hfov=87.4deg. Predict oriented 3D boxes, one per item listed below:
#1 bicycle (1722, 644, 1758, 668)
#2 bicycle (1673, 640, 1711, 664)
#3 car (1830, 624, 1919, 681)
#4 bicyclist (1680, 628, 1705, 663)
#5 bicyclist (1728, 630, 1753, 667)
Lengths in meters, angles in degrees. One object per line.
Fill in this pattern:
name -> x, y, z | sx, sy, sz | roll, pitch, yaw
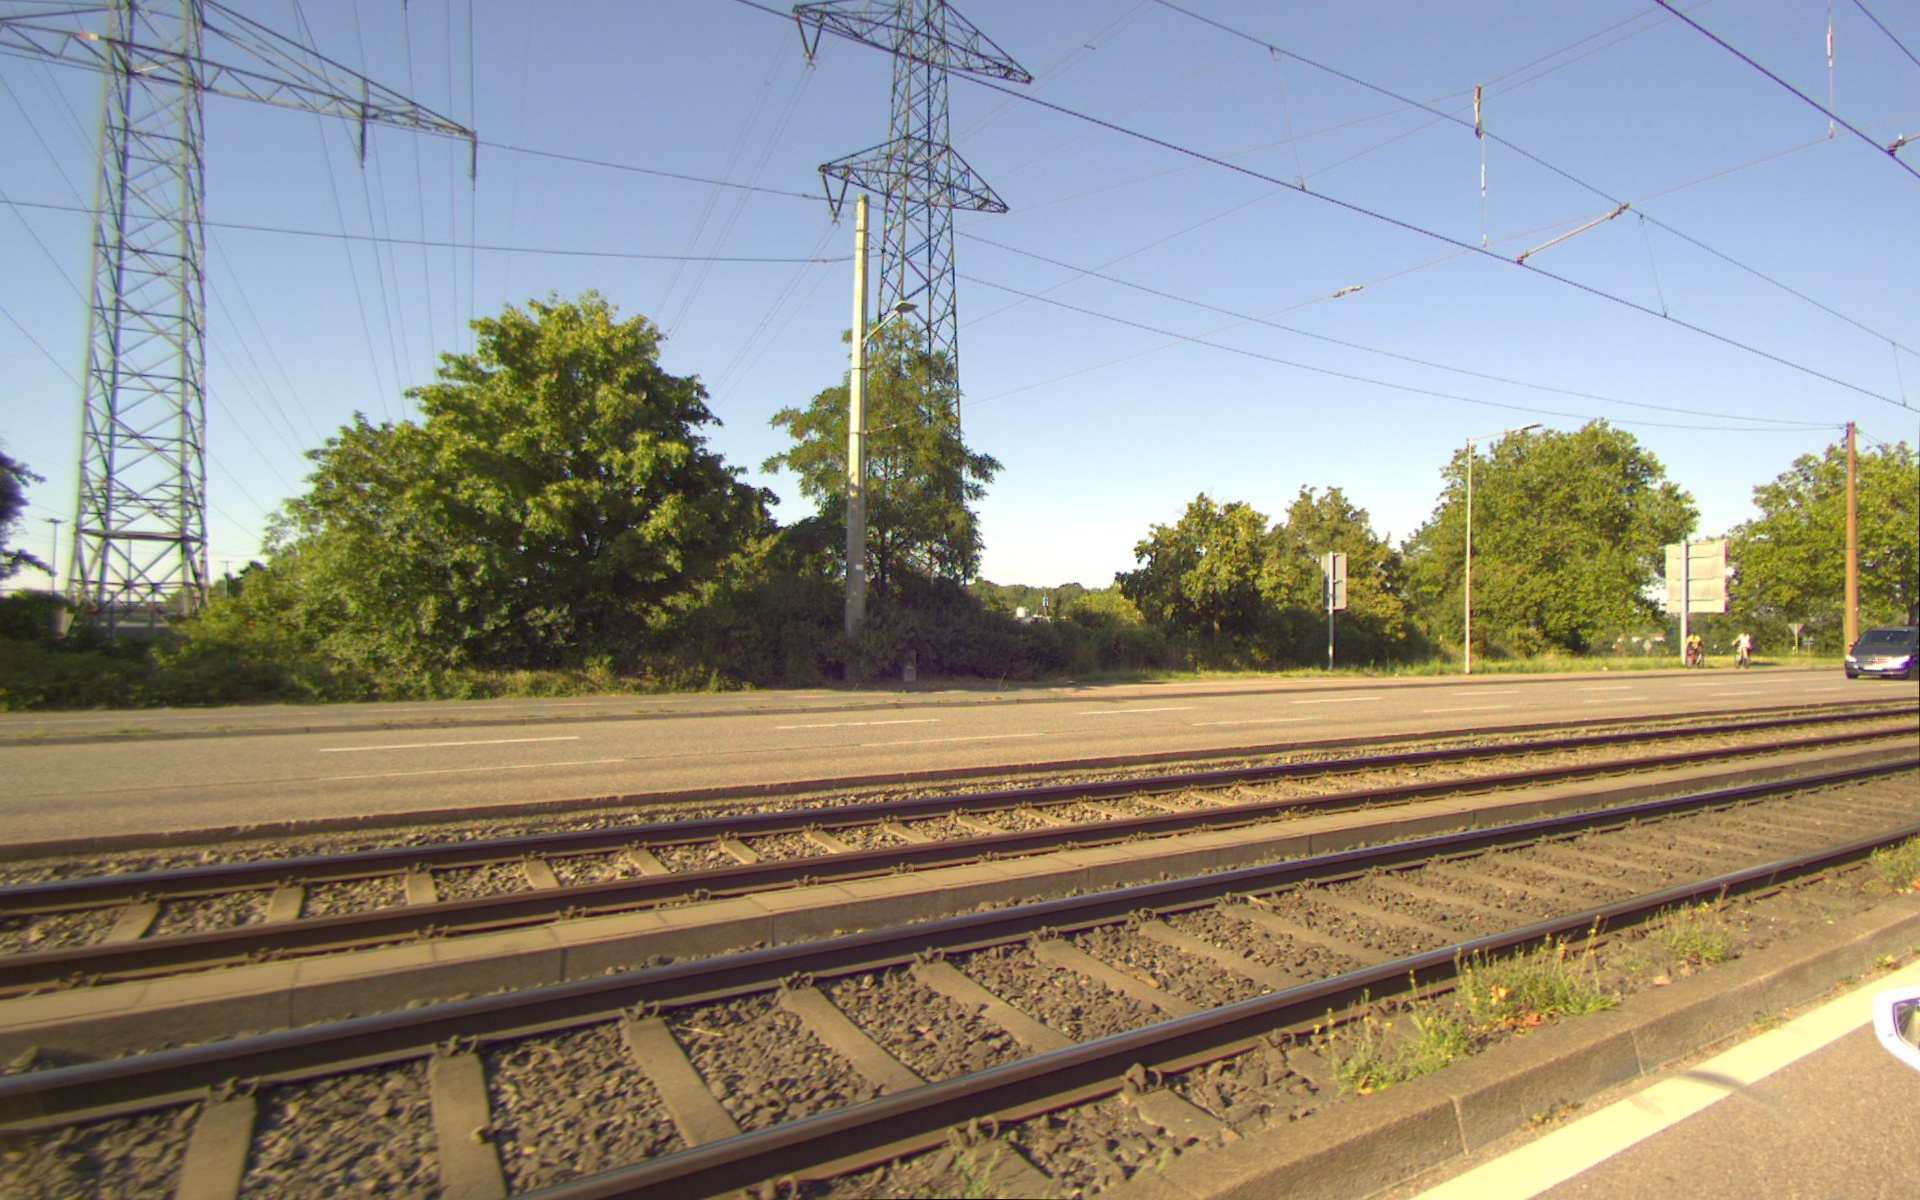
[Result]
bicycle -> 34.644, 2.465, 44.612 | 2.162, 1.035, 0.587 | 2, -2, -32
bicycle -> 32.512, 2.307, 44.603 | 2.162, 1.035, 0.587 | 2, -2, -32
car -> 34.126, 1.906, 36.774 | 4.803, 1.948, 1.984 | 2, -2, -30
bicyclist -> 32.532, 2.028, 44.615 | 0.896, 1.548, 0.587 | 2, -1, -32
bicyclist -> 34.715, 2.160, 44.654 | 0.956, 1.632, 0.587 | 2, -1, -32
